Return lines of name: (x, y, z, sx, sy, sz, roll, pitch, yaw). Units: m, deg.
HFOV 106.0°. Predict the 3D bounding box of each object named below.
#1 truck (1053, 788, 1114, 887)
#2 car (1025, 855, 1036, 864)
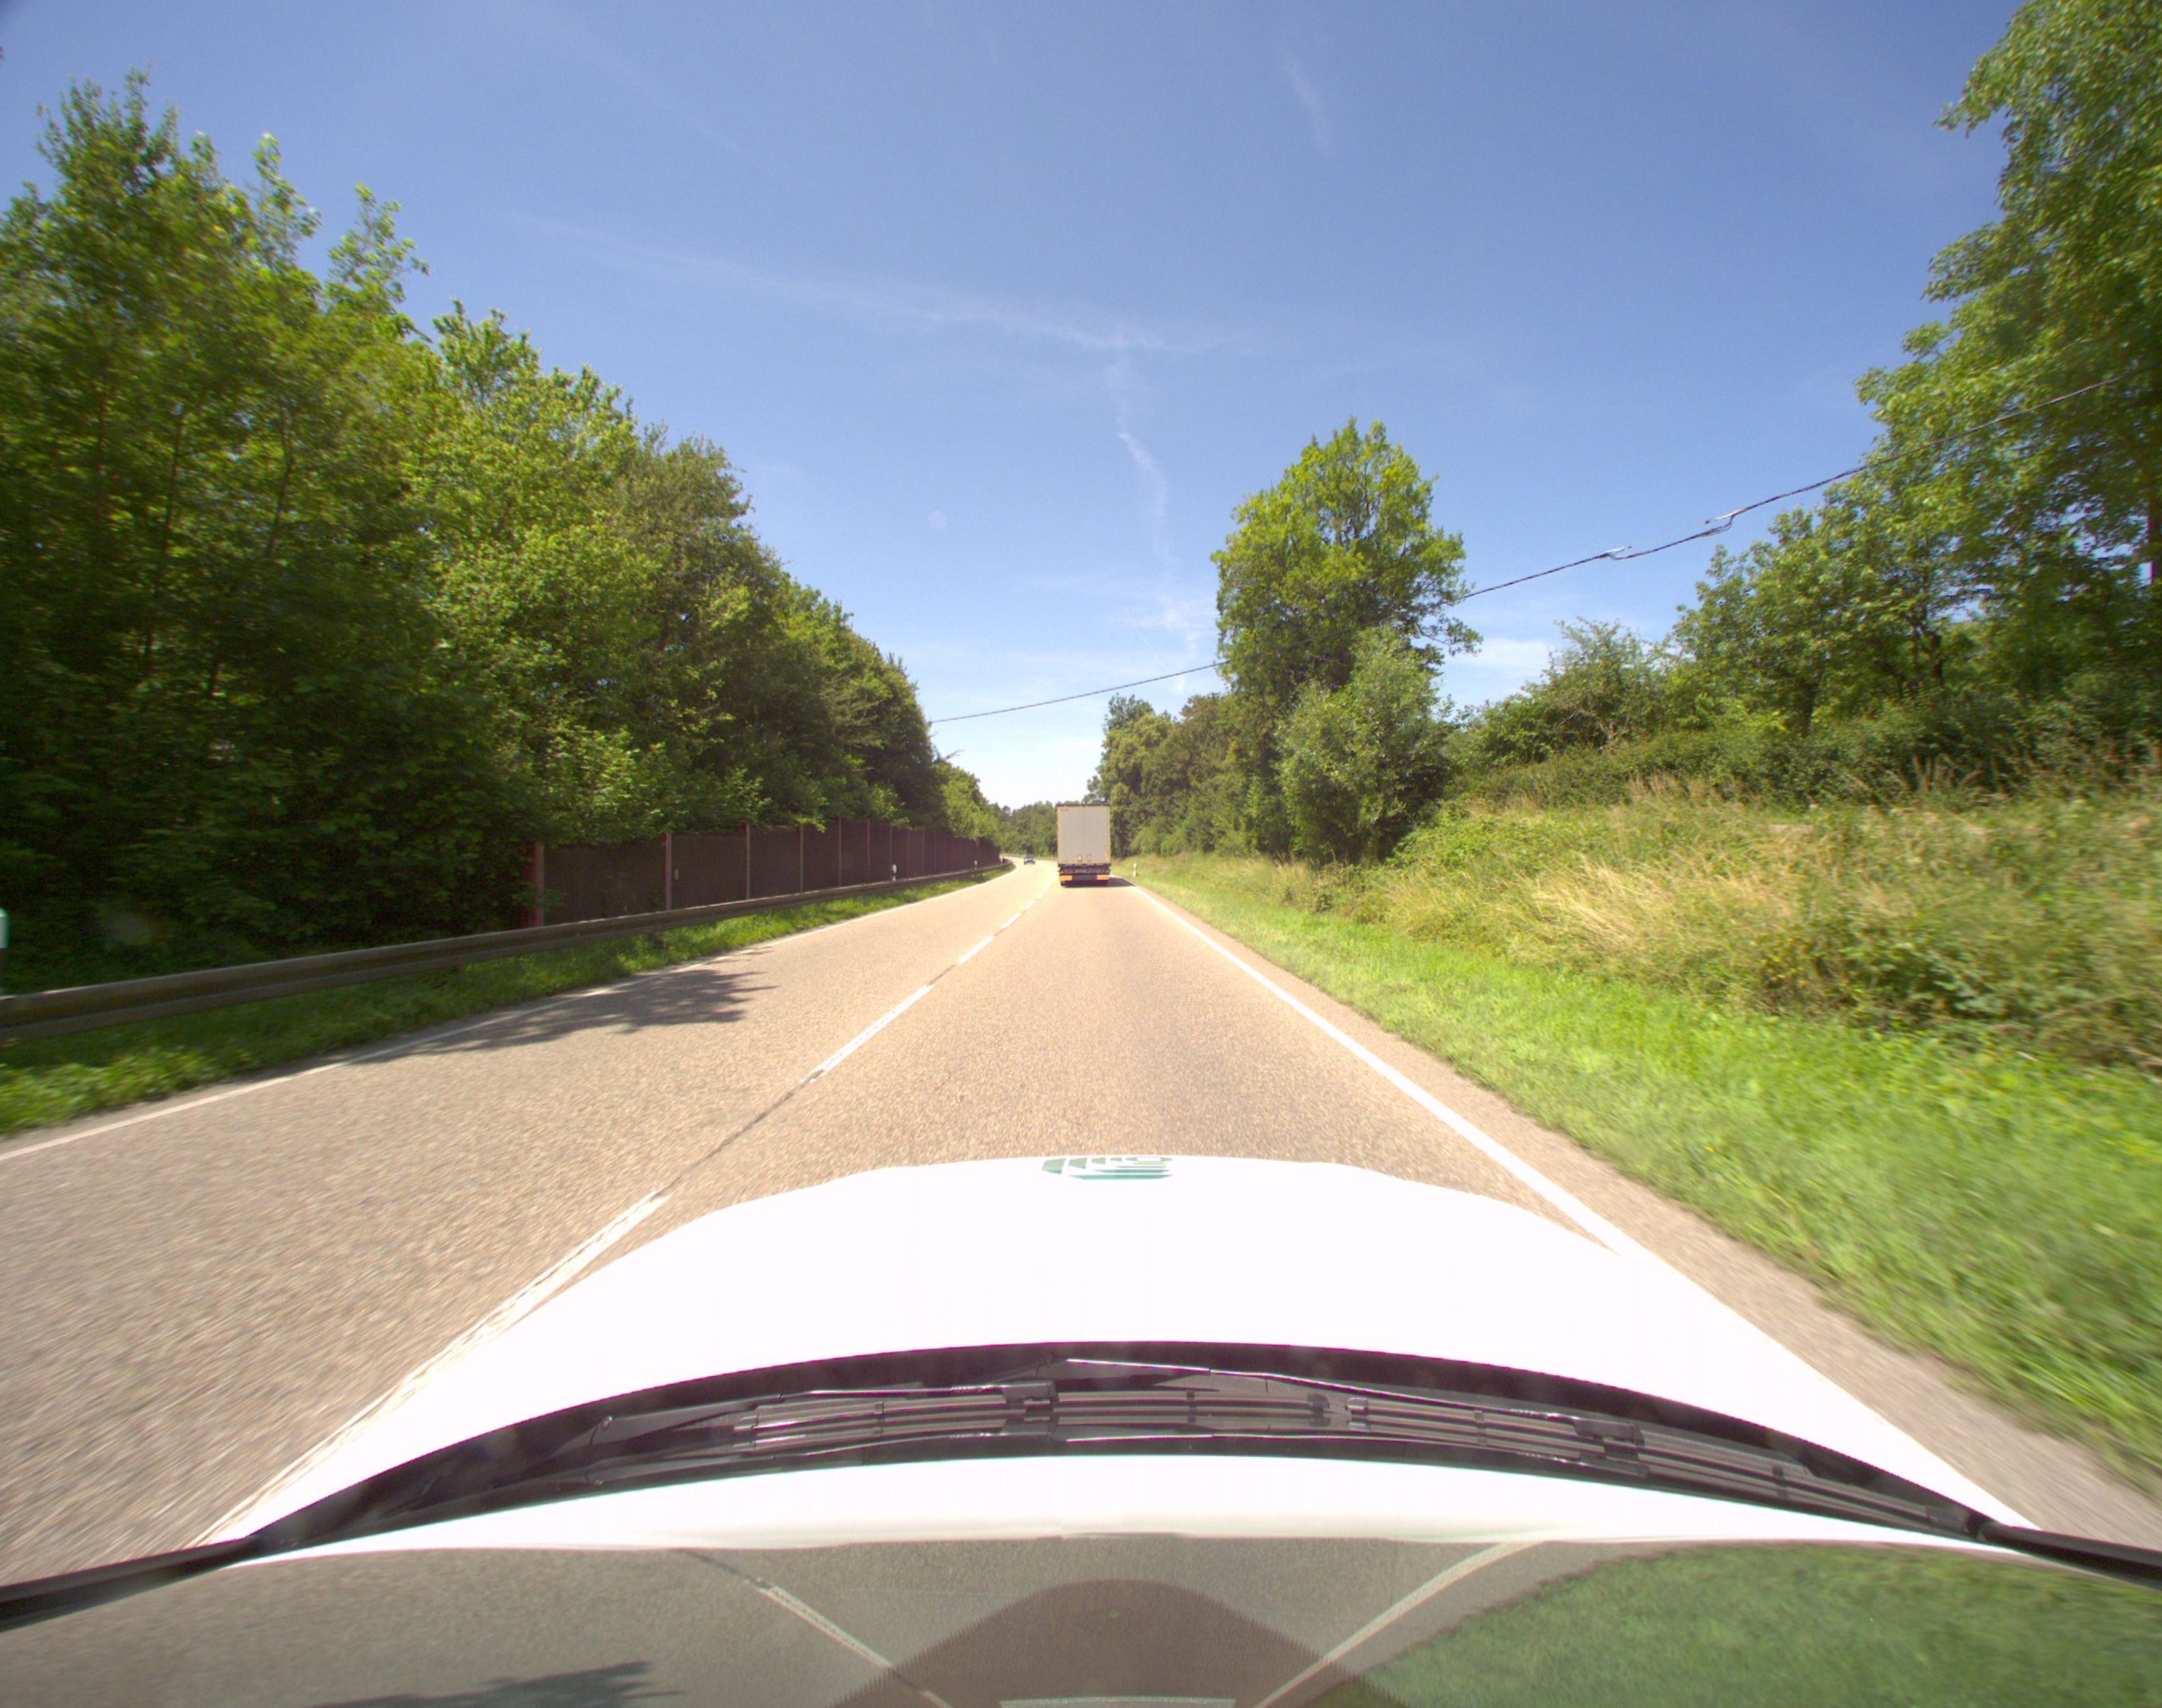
truck: (0.203, -0.729, 41.517, 2.812, 4.604, 6.667, -1, -1, 2)
car: (-8.654, 0.909, 138.524, 1.616, 1.491, 3.607, -1, 0, -7)
